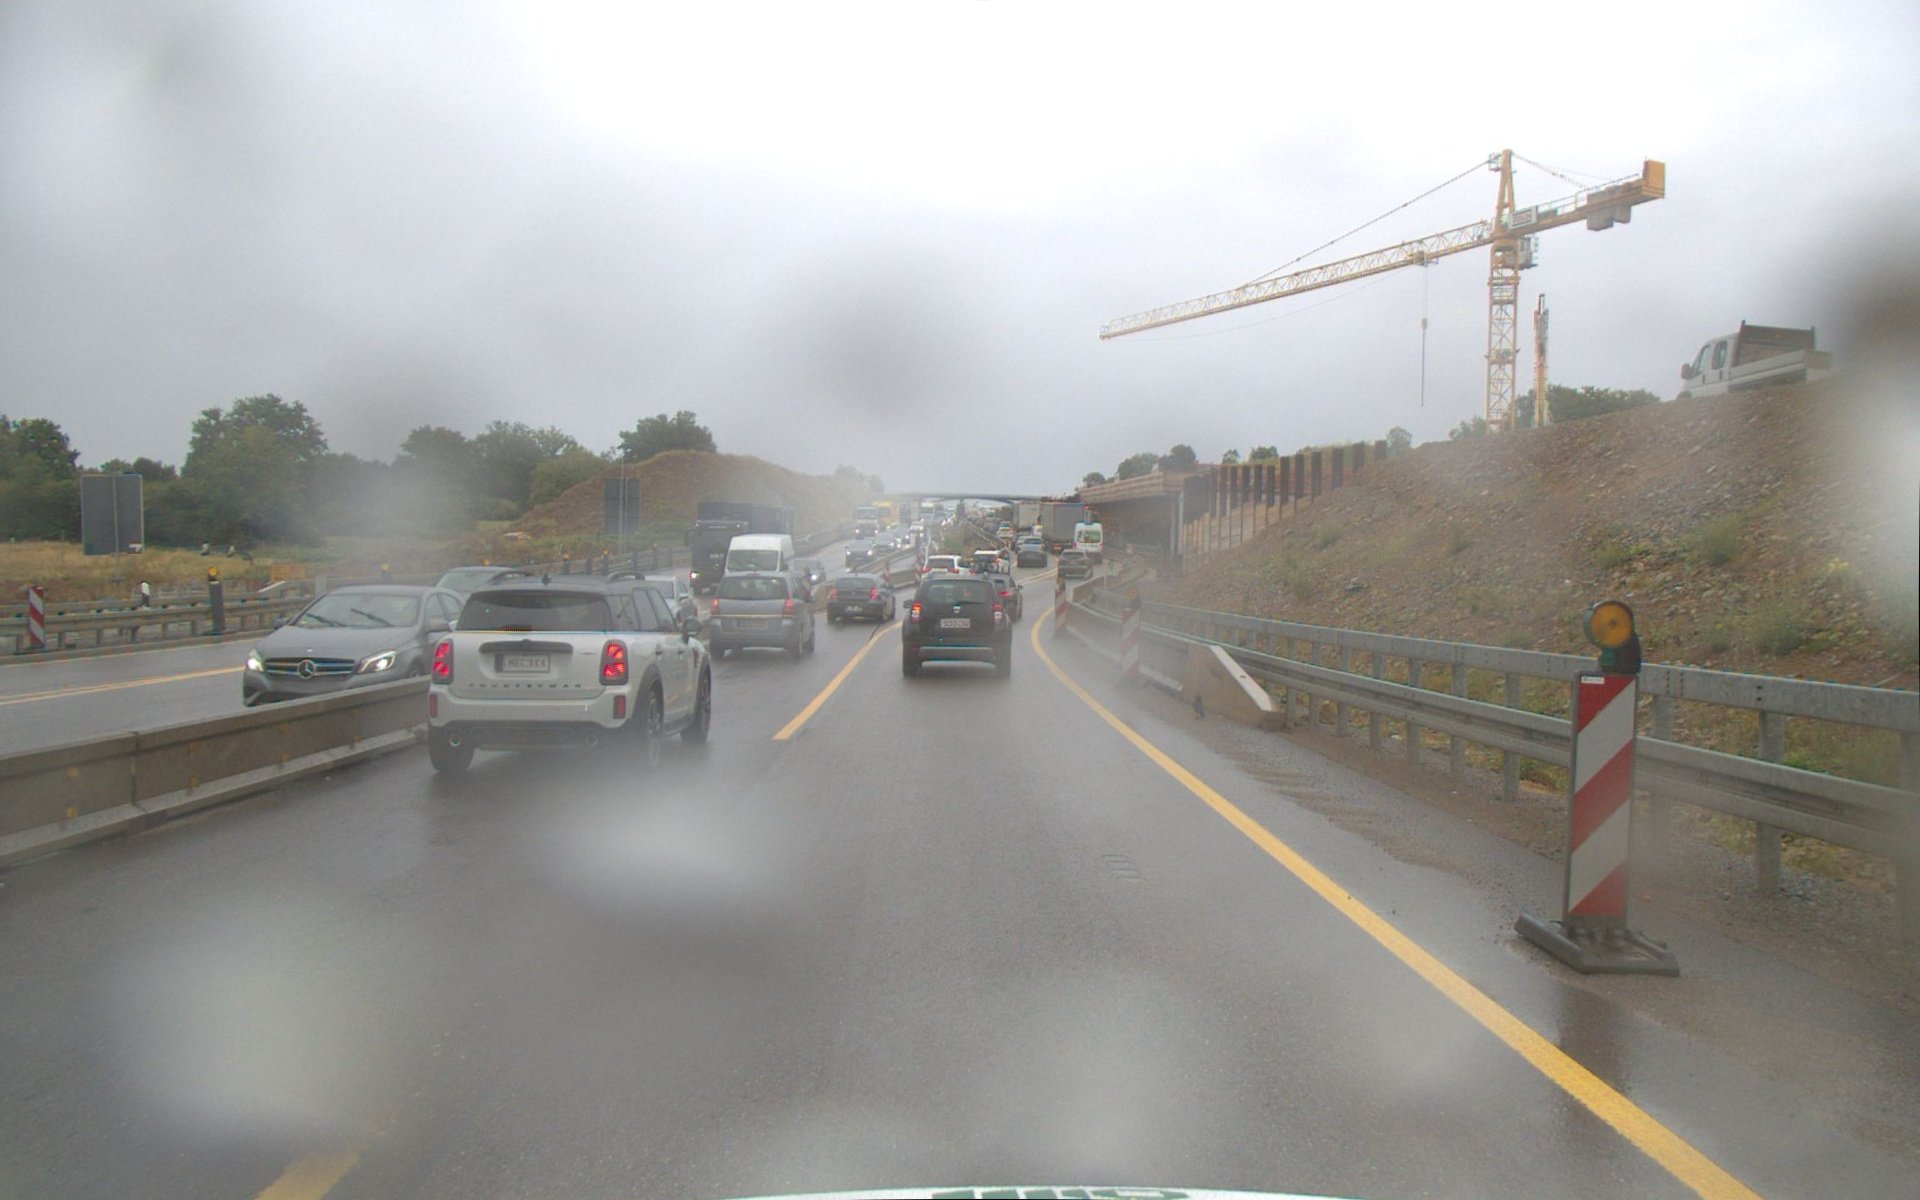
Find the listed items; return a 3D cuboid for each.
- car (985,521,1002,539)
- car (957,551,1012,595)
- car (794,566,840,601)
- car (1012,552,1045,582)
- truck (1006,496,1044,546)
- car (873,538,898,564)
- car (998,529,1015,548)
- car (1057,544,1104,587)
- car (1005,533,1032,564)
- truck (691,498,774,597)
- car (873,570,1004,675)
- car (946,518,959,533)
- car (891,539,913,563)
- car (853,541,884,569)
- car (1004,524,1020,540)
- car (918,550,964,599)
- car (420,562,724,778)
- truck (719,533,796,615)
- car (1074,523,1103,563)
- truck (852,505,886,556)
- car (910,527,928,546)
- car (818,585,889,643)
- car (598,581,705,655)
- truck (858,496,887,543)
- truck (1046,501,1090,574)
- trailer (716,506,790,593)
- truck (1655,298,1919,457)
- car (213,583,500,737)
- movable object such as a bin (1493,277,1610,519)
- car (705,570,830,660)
[{"bbox_3d":[4.034,-8.356,198.434,1.953,2.049,4.000,0,1,-1],"label":"car"},{"bbox_3d":[1.334,-1.391,86.600,1.951,2.201,4.143,0,-1,14],"label":"car"},{"bbox_3d":[-6.474,-0.779,75.240,1.831,1.497,4.669,1,1,-2],"label":"car"},{"bbox_3d":[4.412,-2.128,106.931,1.953,1.792,3.814,1,-1,-1],"label":"car"},{"bbox_3d":[7.718,-9.340,197.260,3.727,5.131,12.917,1,-1,-1],"label":"truck"},{"bbox_3d":[-5.739,-3.767,128.170,1.749,1.841,4.498,1,-1,0],"label":"car"},{"bbox_3d":[5.046,-6.690,180.307,1.811,1.927,4.021,1,-1,0],"label":"car"},{"bbox_3d":[6.701,-1.878,91.549,1.951,2.201,4.143,0,-1,13],"label":"car"},{"bbox_3d":[4.680,-4.085,131.502,1.951,2.201,4.142,0,-1,4],"label":"car"},{"bbox_3d":[-9.893,-2.281,72.751,2.588,4.039,9.211,1,1,-2],"label":"truck"},{"bbox_3d":[-0.332,0.385,27.909,2.038,1.628,4.140,1,-1,0],"label":"car"},{"bbox_3d":[-1.156,-11.350,252.883,1.953,2.049,3.999,1,-1,-1],"label":"car"},{"bbox_3d":[-4.970,-4.164,142.448,1.749,1.841,4.498,1,-1,0],"label":"car"},{"bbox_3d":[-5.976,-2.954,108.368,1.702,1.714,5.552,1,1,0],"label":"car"},{"bbox_3d":[7.387,-9.637,235.784,1.953,2.049,3.998,1,-1,-1],"label":"car"},{"bbox_3d":[-0.839,-1.137,71.509,1.953,2.048,3.893,1,2,-1],"label":"car"},{"bbox_3d":[-3.251,0.544,14.722,1.779,1.628,4.306,1,0,-2],"label":"car"},{"bbox_3d":[-7.168,-0.915,59.136,2.104,2.761,6.015,1,1,-1],"label":"truck"},{"bbox_3d":[8.971,-3.927,115.188,1.951,2.528,4.984,0,-1,5],"label":"car"},{"bbox_3d":[-9.537,-7.259,174.363,3.019,5.005,8.565,1,1,0],"label":"truck"},{"bbox_3d":[-5.514,-8.504,220.650,2.192,2.400,4.877,1,1,0],"label":"car"},{"bbox_3d":[-3.142,0.429,49.435,1.953,1.628,4.138,1,-1,-2],"label":"car"},{"bbox_3d":[-6.824,0.363,36.972,1.642,1.550,4.344,0,1,-1],"label":"car"},{"bbox_3d":[-10.920,-9.975,206.762,3.077,5.512,8.524,1,1,0],"label":"truck"},{"bbox_3d":[9.010,-5.094,137.232,3.035,5.521,9.449,0,-1,7],"label":"truck"},{"bbox_3d":[-10.160,-2.493,82.191,2.690,4.039,9.672,1,1,-2],"label":"trailer"},{"bbox_3d":[18.883,-4.982,38.228,2.592,2.599,6.982,1,-1,-1],"label":"truck"},{"bbox_3d":[-6.733,0.616,18.967,1.750,1.565,4.311,0,0,-1],"label":"car"},{"bbox_3d":[30.457,-10.068,85.749,4.618,11.032,10.311,0,-1,14],"label":"movable object such as a bin"},{"bbox_3d":[-3.703,0.304,32.474,1.953,1.628,4.140,1,-1,0],"label":"car"}]
